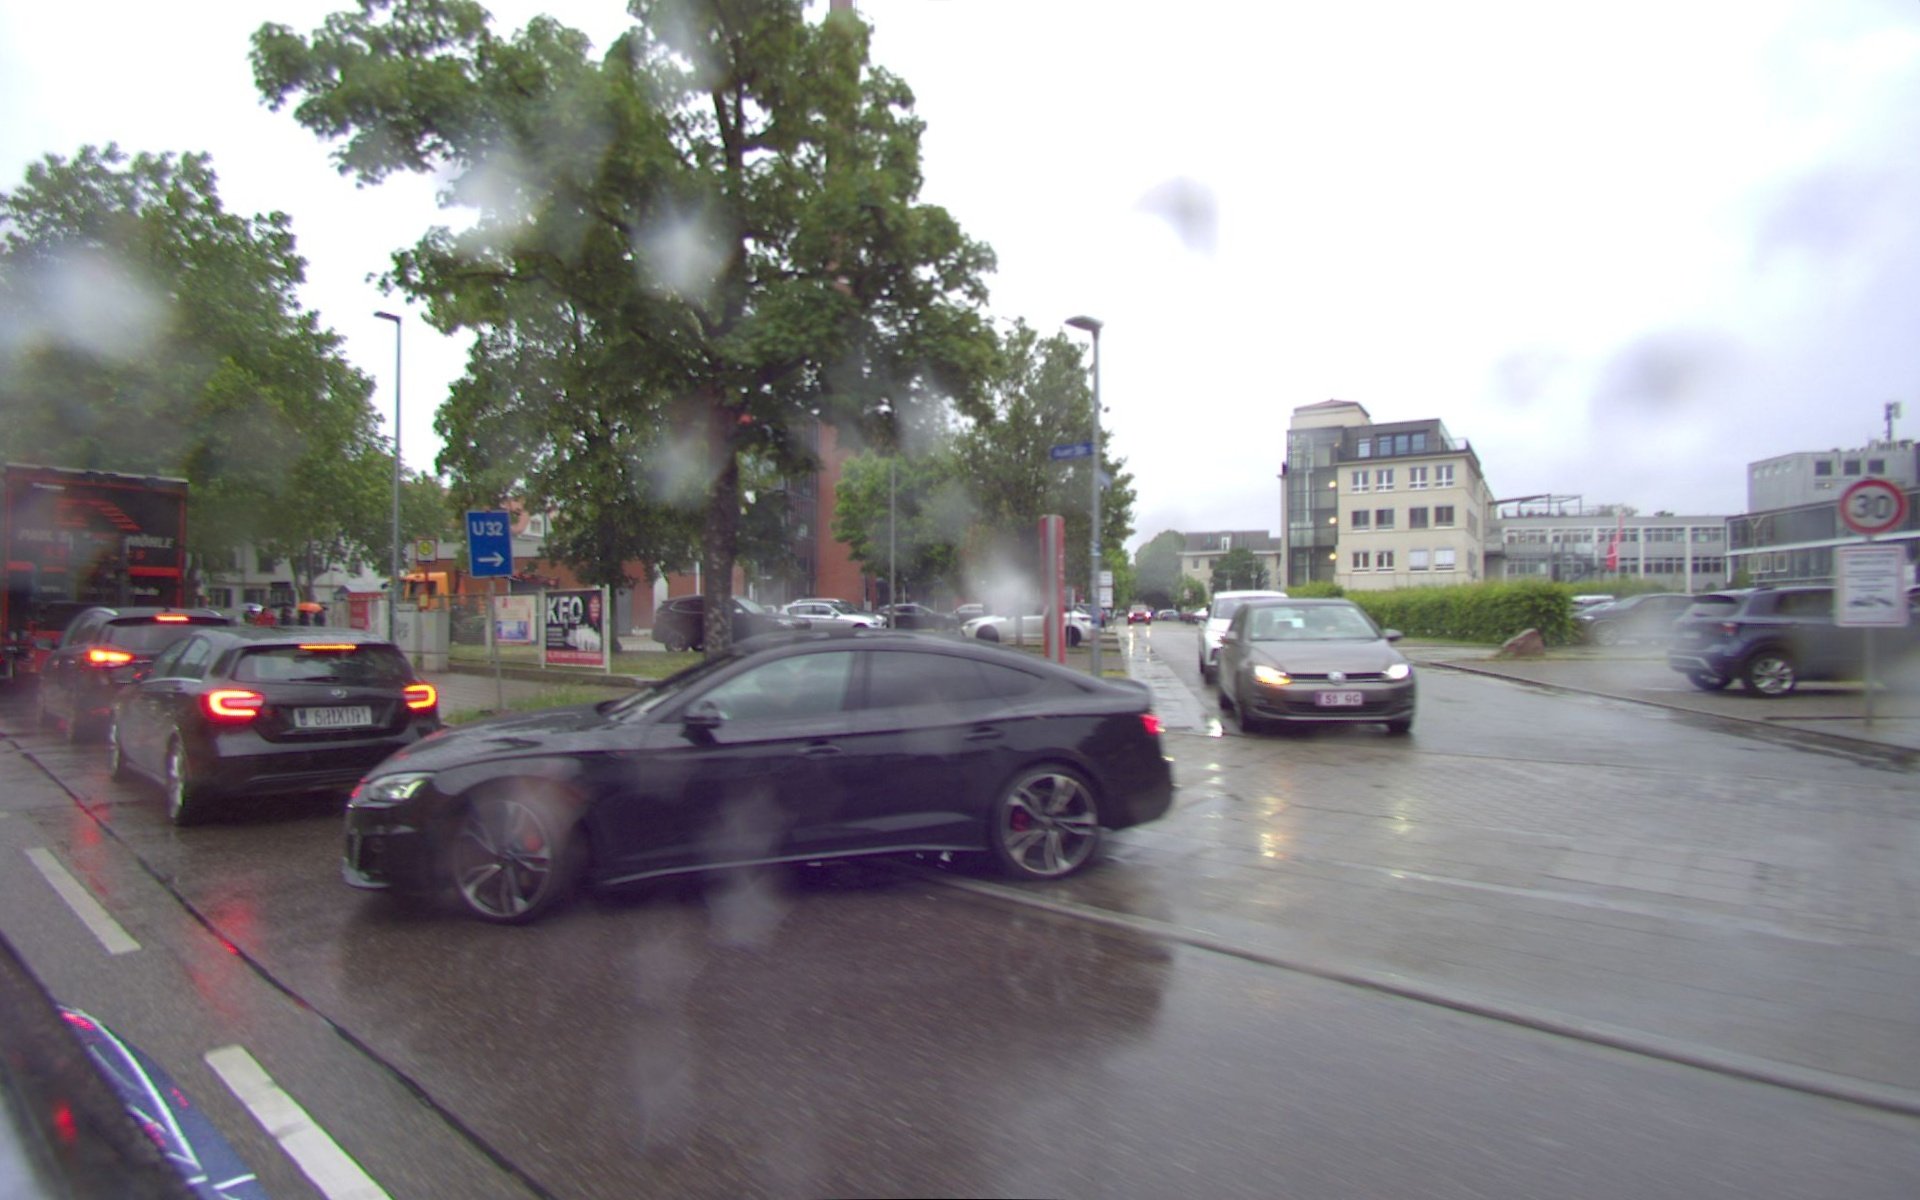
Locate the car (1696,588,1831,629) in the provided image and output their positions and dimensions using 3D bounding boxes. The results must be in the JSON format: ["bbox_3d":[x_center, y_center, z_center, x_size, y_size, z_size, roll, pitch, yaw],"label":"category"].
[{"bbox_3d":[34.344,0.381,43.370,3.954,1.627,1.995,-2,-1,8],"label":"car"}]

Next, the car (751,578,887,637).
[{"bbox_3d":[-5.170,0.292,37.360,4.620,2.029,1.996,-1,-1,7],"label":"car"}]

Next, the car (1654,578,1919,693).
[{"bbox_3d":[12.697,0.494,14.369,4.255,1.521,1.783,-1,-2,12],"label":"car"}]

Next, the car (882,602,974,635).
[{"bbox_3d":[-1.752,1.040,56.347,4.754,1.754,2.162,-1,-1,11],"label":"car"}]

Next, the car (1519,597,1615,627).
[{"bbox_3d":[36.193,0.730,60.412,4.387,1.627,1.998,-2,-1,3],"label":"car"}]

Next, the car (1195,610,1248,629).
[{"bbox_3d":[22.095,1.608,85.631,4.176,1.536,1.745,-1,-1,12],"label":"car"}]

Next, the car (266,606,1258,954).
[{"bbox_3d":[-0.949,0.795,6.028,4.844,1.465,2.092,0,-1,-17],"label":"car"}]

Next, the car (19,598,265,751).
[{"bbox_3d":[-11.043,0.833,13.523,4.802,1.631,1.847,1,0,42],"label":"car"}]

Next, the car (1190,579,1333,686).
[{"bbox_3d":[5.373,0.542,18.625,2.024,1.719,4.632,-1,0,11],"label":"car"}]

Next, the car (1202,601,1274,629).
[{"bbox_3d":[20.684,1.139,75.537,4.892,2.029,1.996,-1,-1,7],"label":"car"}]

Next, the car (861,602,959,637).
[{"bbox_3d":[-2.598,1.011,53.316,4.754,1.754,2.162,-1,-1,11],"label":"car"}]

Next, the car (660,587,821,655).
[{"bbox_3d":[-6.076,0.596,28.218,3.956,1.804,1.994,-1,-1,10],"label":"car"}]

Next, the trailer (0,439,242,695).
[{"bbox_3d":[-19.914,-0.370,22.248,15.044,4.080,3.406,-1,-2,42],"label":"trailer"}]

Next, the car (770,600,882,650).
[{"bbox_3d":[-5.263,0.978,39.958,3.959,1.806,1.992,-2,-1,13],"label":"car"}]

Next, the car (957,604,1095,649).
[{"bbox_3d":[2.137,0.849,32.422,4.261,1.389,1.618,-1,-1,10],"label":"car"}]

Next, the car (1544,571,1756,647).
[{"bbox_3d":[20.973,0.293,30.986,4.918,2.167,1.994,-1,-1,10],"label":"car"}]

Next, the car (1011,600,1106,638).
[{"bbox_3d":[4.856,0.930,49.736,4.531,1.750,1.996,-1,-1,7],"label":"car"}]

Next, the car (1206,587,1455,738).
[{"bbox_3d":[4.048,0.572,11.836,1.991,1.405,4.326,-1,1,10],"label":"car"}]

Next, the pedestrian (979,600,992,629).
[{"bbox_3d":[1.495,0.853,59.268,0.670,1.697,0.778,-1,-1,10],"label":"pedestrian"}]

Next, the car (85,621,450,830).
[{"bbox_3d":[-6.164,0.882,8.788,4.337,1.371,1.708,-2,-2,43],"label":"car"}]

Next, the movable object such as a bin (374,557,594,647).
[{"bbox_3d":[-16.918,0.071,36.186,6.669,2.953,2.780,0,-1,-39],"label":"movable object such as a bin"}]

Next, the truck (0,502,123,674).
[{"bbox_3d":[-25.140,-0.223,26.898,6.970,4.109,3.414,-2,-1,41],"label":"truck"}]
